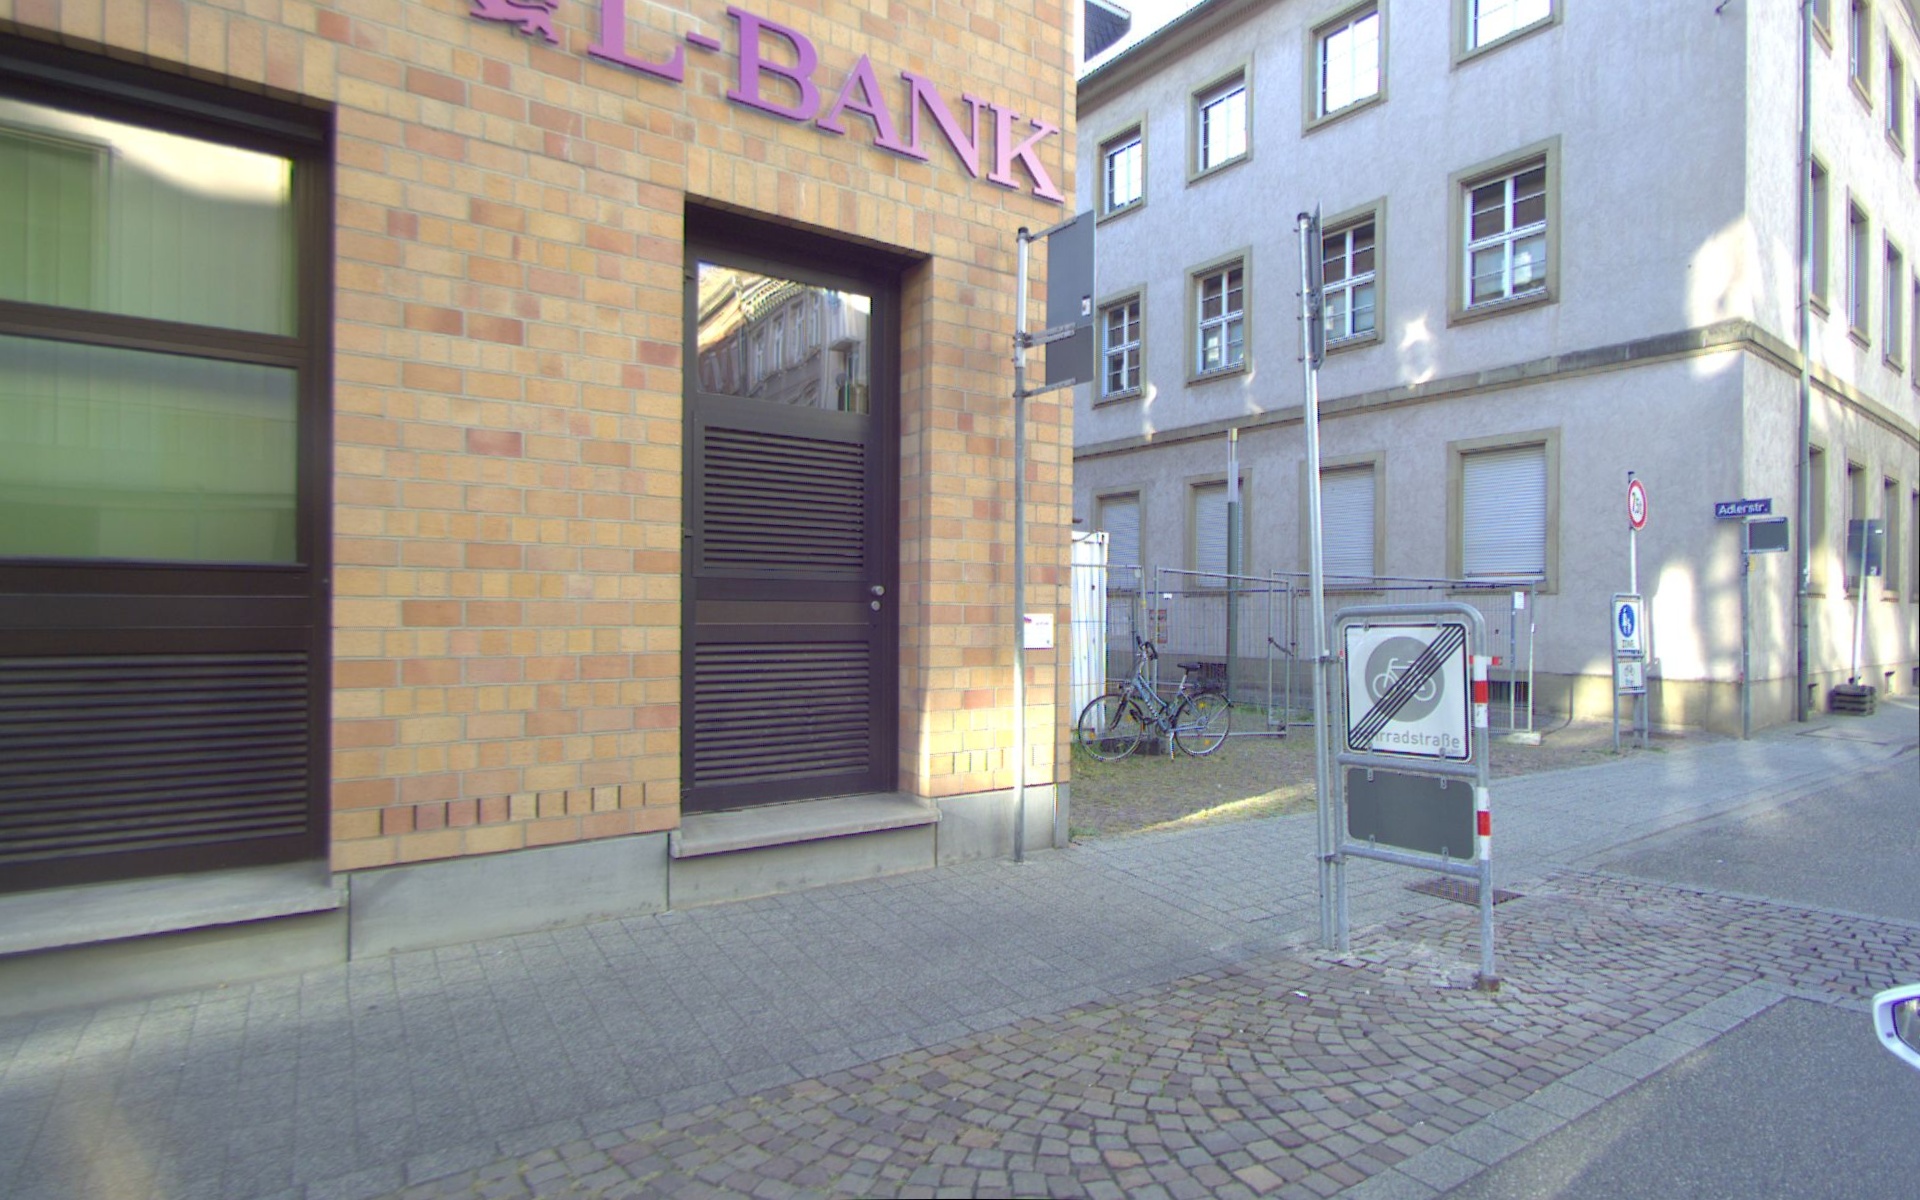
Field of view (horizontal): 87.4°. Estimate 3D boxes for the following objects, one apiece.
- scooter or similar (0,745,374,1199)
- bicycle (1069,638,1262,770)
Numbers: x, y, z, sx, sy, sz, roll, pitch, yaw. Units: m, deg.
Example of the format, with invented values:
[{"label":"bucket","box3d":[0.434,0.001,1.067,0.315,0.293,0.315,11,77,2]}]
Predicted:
[{"label":"scooter or similar","box3d":[-1.955,0.934,1.846,1.331,1.233,0.700,0,-1,-4]},{"label":"bicycle","box3d":[2.077,1.016,10.223,1.745,1.217,0.808,1,1,-17]}]
